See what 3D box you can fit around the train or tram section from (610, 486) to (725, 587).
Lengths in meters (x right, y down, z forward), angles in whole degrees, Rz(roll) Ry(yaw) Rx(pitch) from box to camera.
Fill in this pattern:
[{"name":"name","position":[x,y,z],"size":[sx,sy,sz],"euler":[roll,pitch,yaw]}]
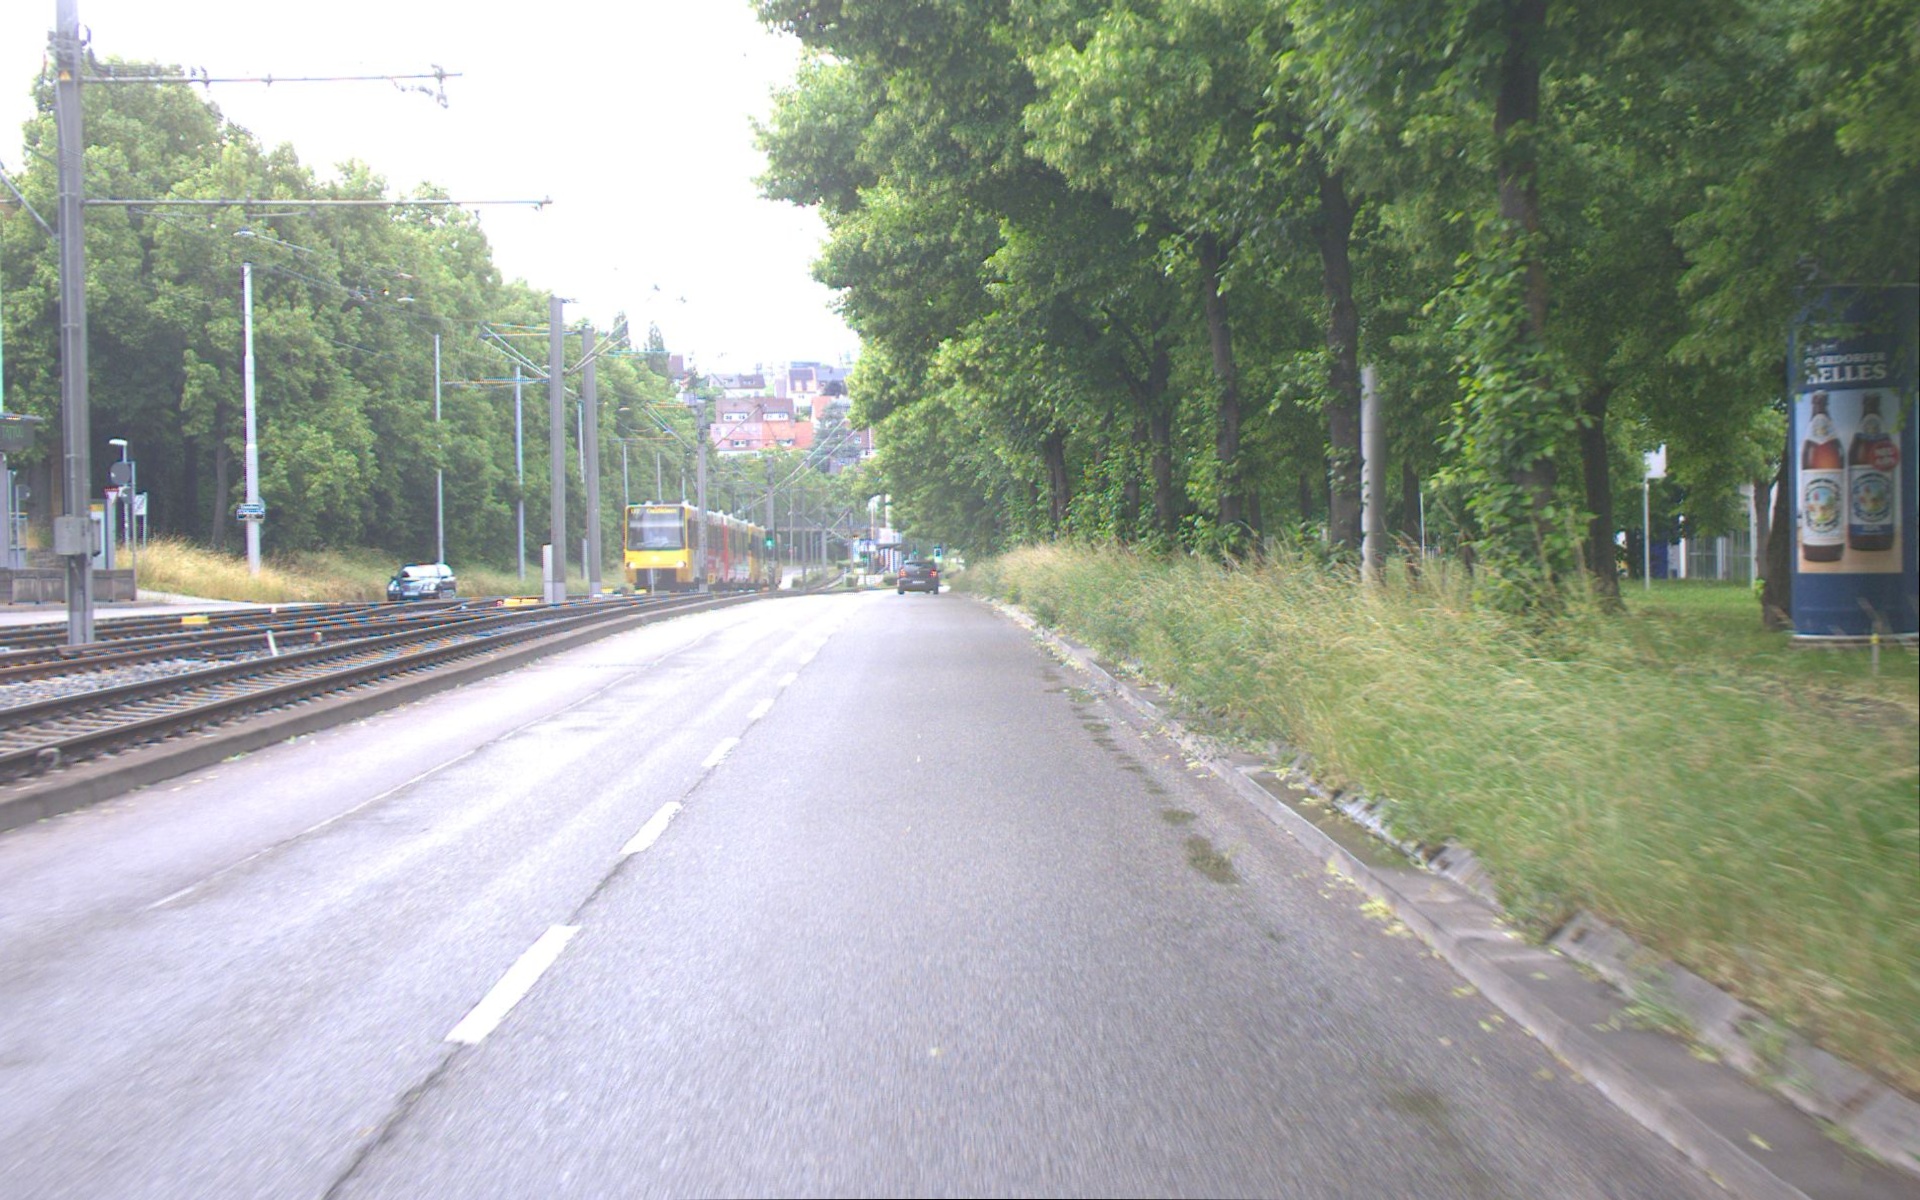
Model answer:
[{"name":"train or tram section","position":[-11.773,-2.479,139.787],"size":[3.214,3.783,14.789],"euler":[-1,0,1]}]

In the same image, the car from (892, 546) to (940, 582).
[{"name":"car","position":[-1.821,-1.524,143.507],"size":[1.982,1.436,4.474],"euler":[-1,1,0]}]

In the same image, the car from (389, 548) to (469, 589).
[{"name":"car","position":[-18.094,-1.069,117.346],"size":[1.902,1.320,4.826],"euler":[-1,0,1]}]
